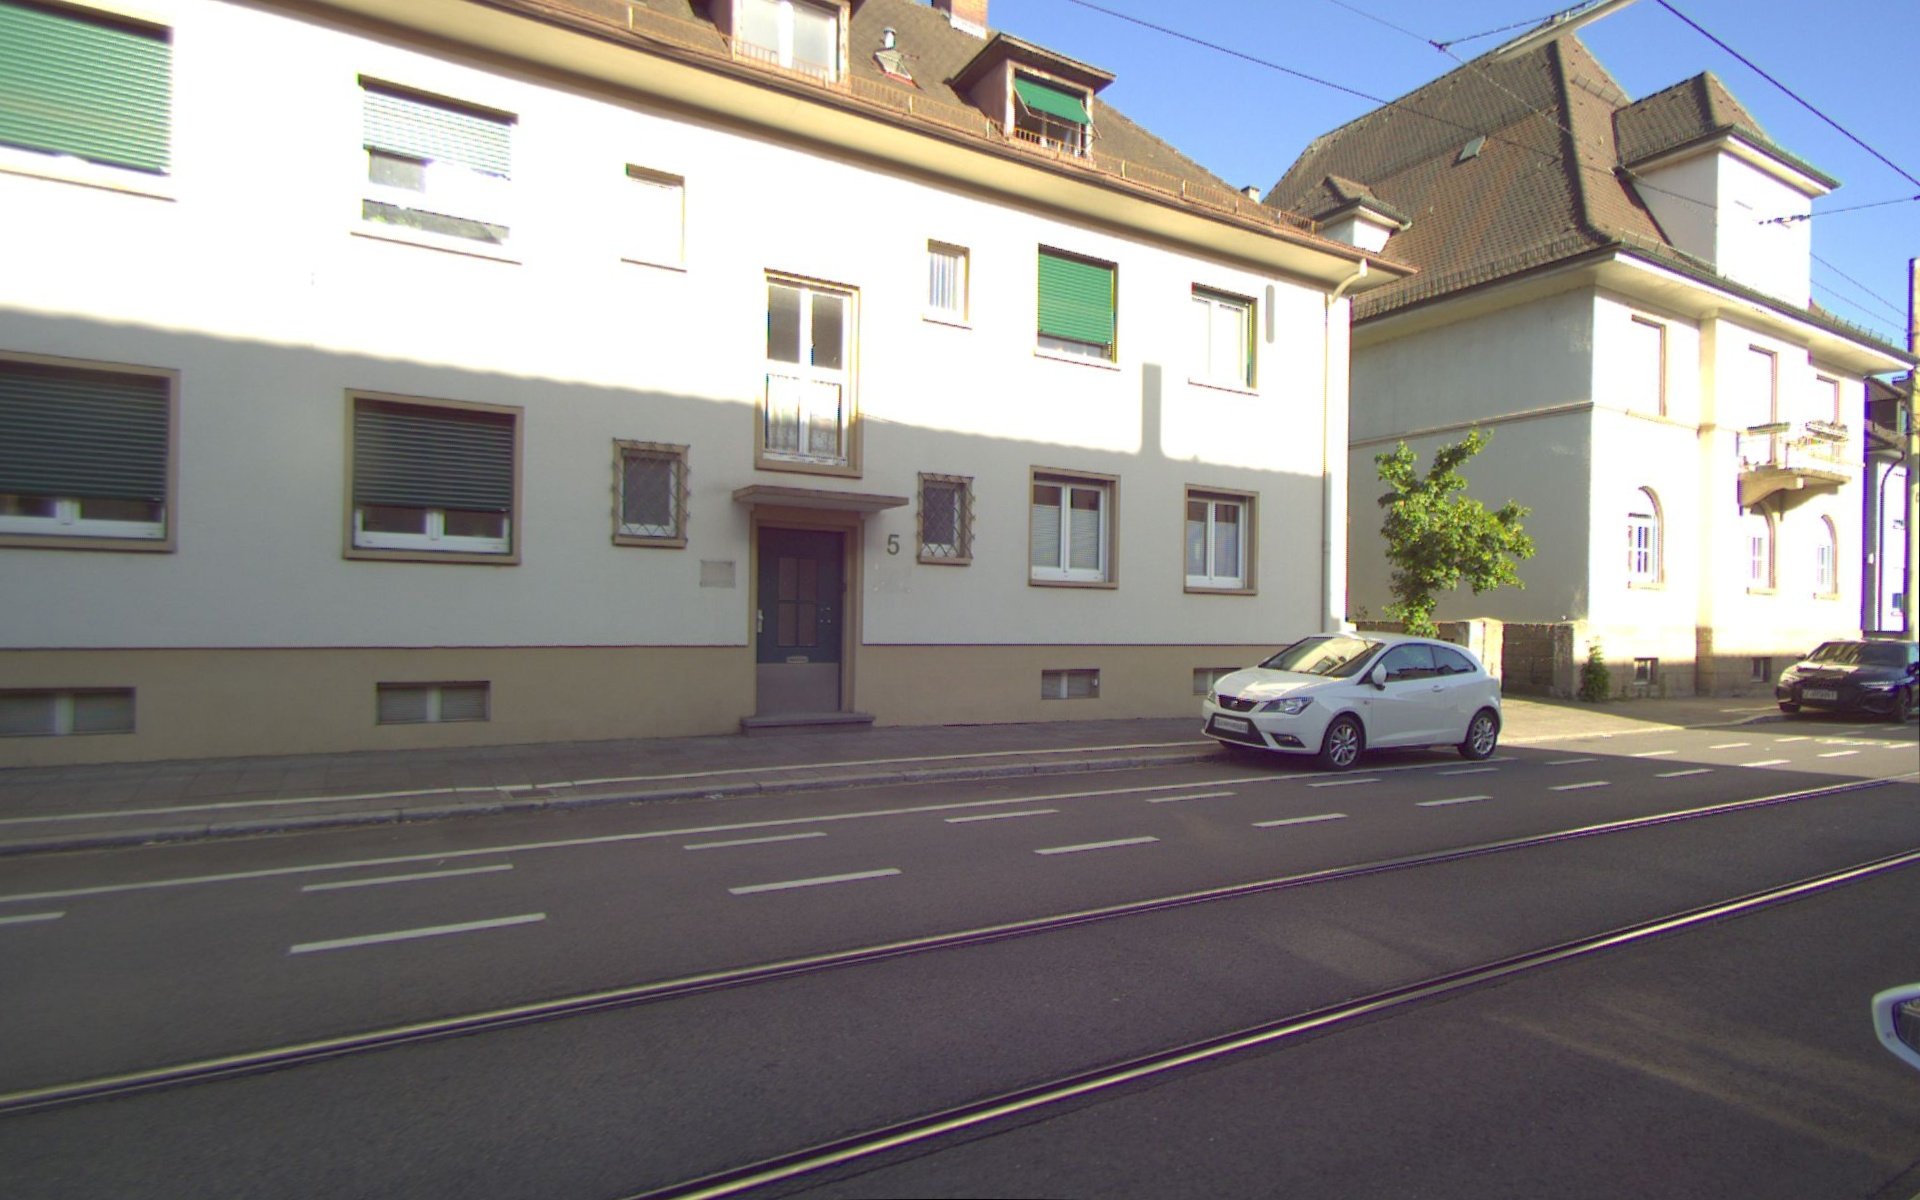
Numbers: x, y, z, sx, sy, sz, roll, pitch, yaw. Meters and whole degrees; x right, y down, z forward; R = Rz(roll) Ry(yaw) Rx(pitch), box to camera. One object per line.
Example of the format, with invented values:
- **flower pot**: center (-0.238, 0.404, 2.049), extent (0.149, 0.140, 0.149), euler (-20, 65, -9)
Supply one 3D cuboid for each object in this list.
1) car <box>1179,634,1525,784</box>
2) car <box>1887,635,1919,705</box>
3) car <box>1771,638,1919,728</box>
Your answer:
- **car**: center (4.571, 1.145, 11.586), extent (3.968, 1.476, 1.624), euler (2, -2, -30)
- **car**: center (22.693, 1.589, 22.586), extent (3.790, 1.497, 1.668), euler (1, 1, -30)
- **car**: center (17.195, 1.490, 19.088), extent (4.207, 1.497, 1.652), euler (1, -1, -34)
